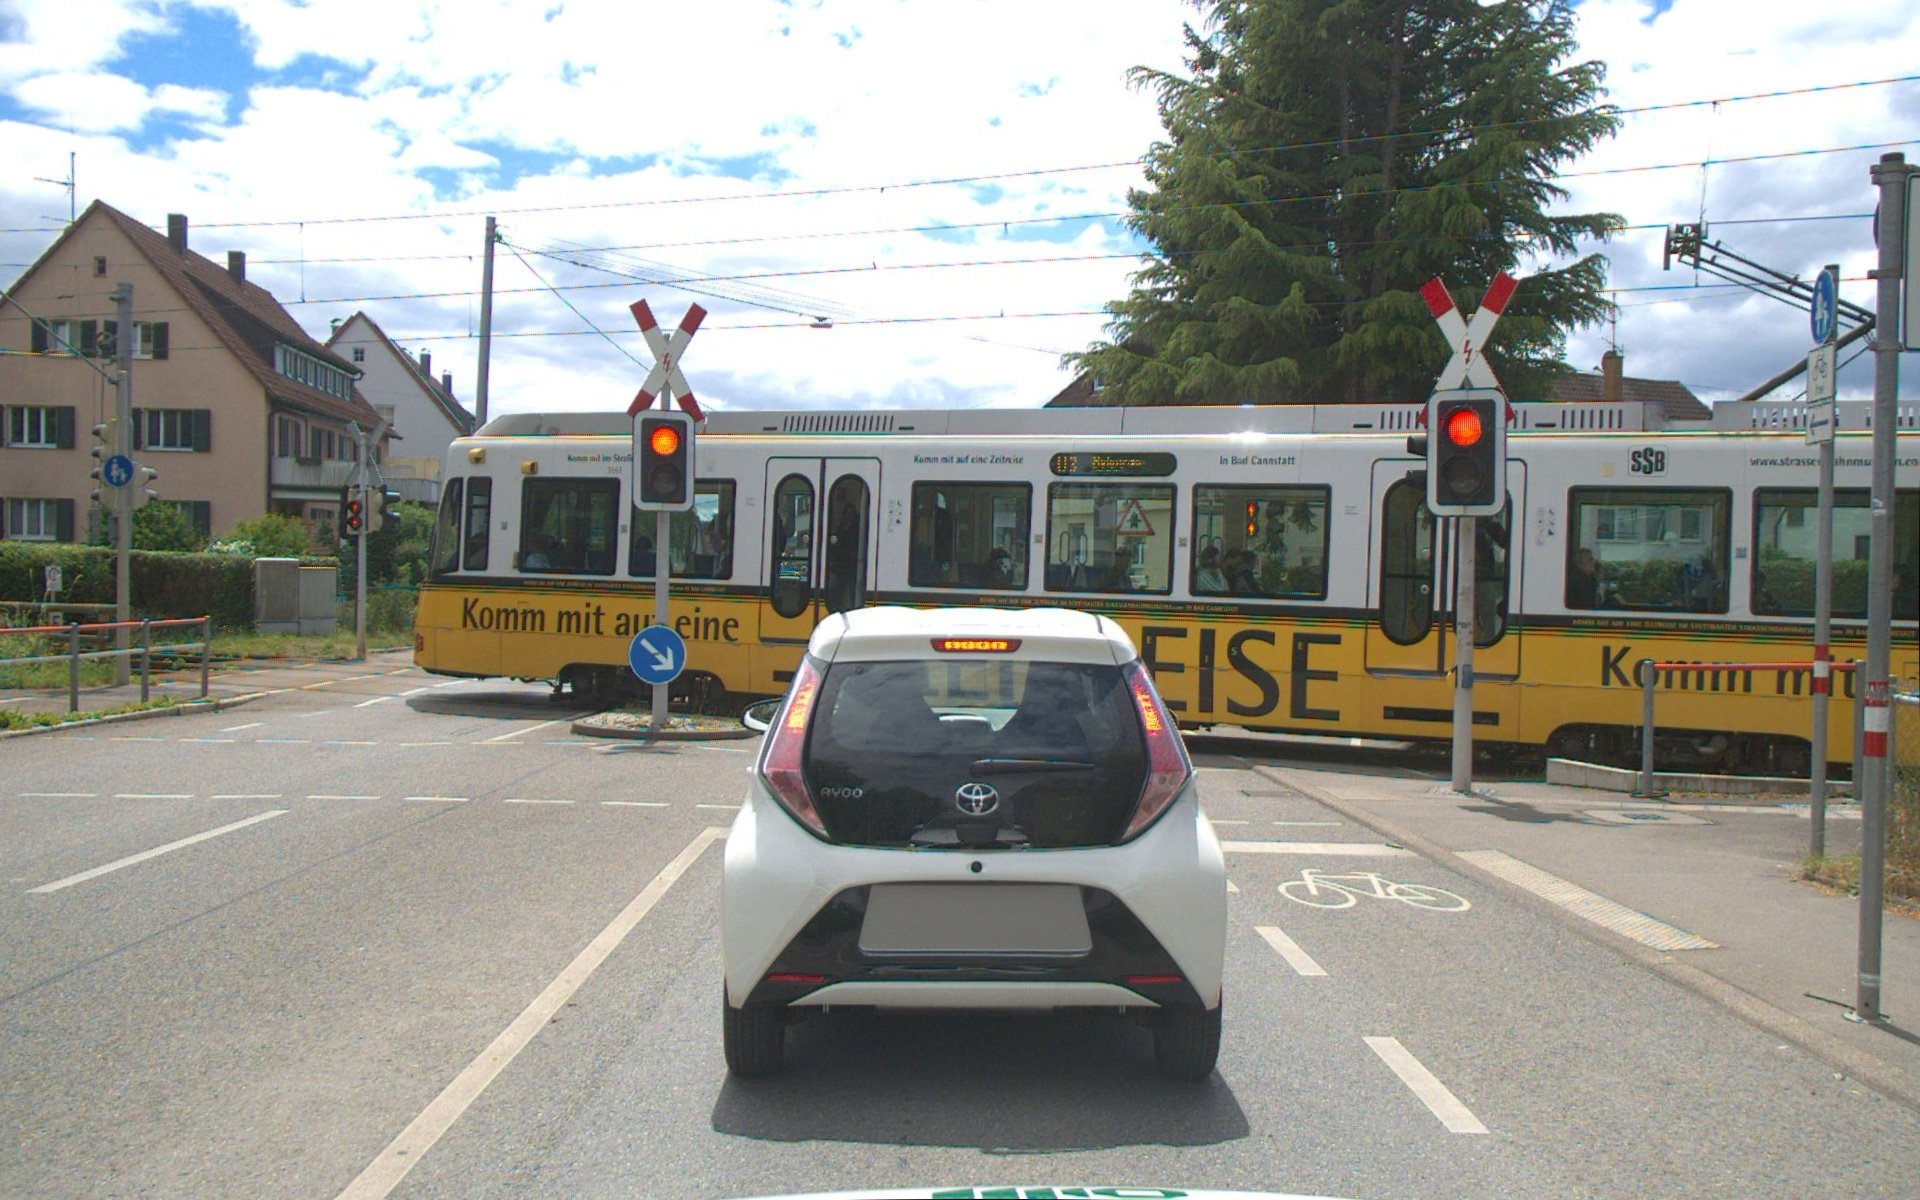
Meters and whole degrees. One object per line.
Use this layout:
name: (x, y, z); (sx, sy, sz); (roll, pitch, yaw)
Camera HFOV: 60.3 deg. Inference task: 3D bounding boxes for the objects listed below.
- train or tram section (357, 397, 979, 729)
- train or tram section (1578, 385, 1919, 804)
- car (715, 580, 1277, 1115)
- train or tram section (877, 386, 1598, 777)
train or tram section: (-3.829, -0.543, 21.612); (7.535, 3.786, 2.869); (2, 0, 22)
train or tram section: (10.067, -0.009, 15.940); (7.535, 3.786, 2.869); (2, 0, 22)
car: (0.079, 0.717, 6.714); (1.588, 1.512, 3.999); (1, 0, -1)
train or tram section: (3.129, -0.302, 18.774); (7.535, 3.786, 2.869); (2, 0, 22)
